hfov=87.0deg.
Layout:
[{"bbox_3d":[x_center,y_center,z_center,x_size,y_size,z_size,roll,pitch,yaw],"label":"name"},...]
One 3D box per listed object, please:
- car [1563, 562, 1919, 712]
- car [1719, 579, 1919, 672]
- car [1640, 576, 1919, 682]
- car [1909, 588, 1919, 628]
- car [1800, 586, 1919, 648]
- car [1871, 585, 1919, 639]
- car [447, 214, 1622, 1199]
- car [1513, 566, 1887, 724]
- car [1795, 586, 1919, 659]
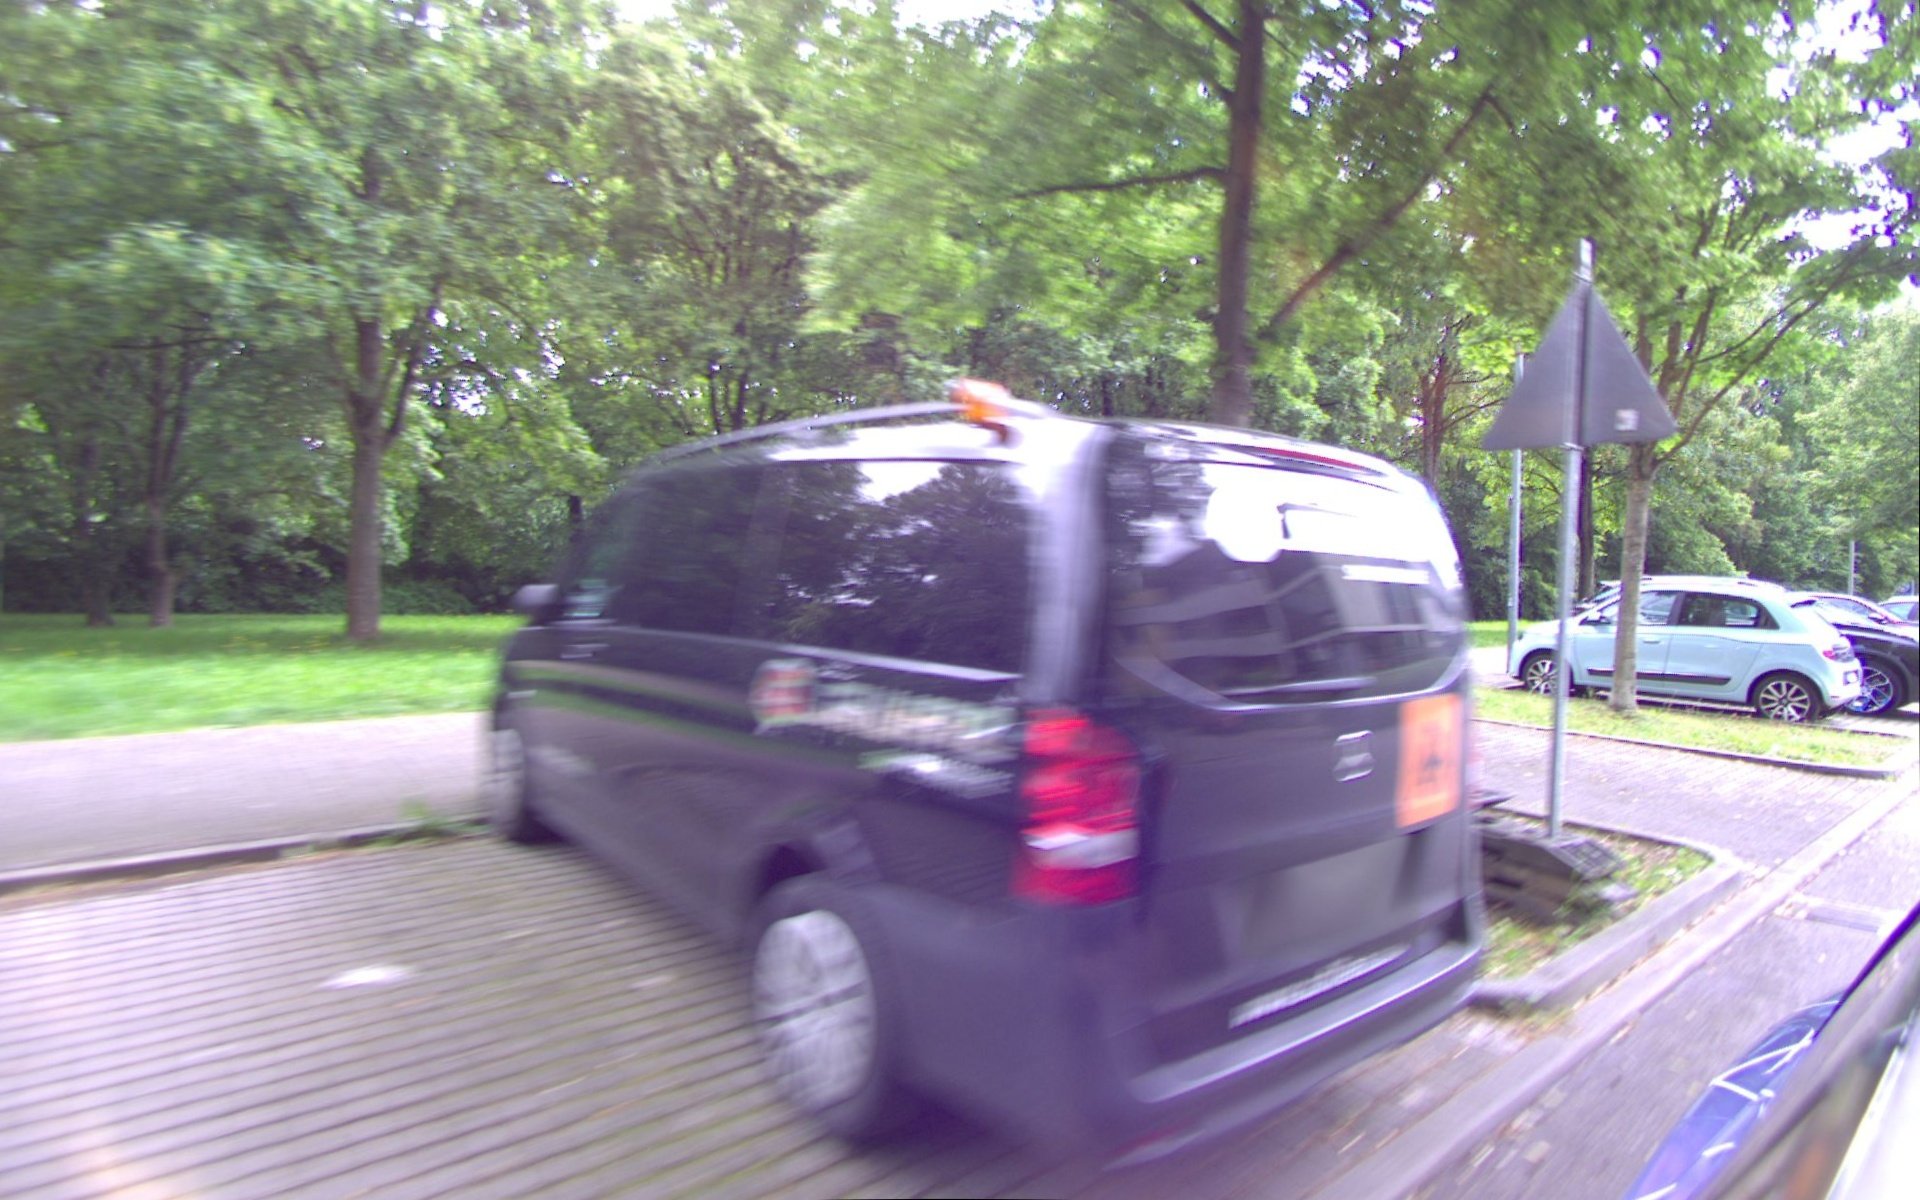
[{"bbox_3d":[11.214,0.412,14.027,2.045,1.696,4.426,1,2,-39],"label":"car"},{"bbox_3d":[17.164,0.458,19.249,1.820,1.536,4.078,0,3,-43],"label":"car"},{"bbox_3d":[14.889,0.449,17.625,1.946,1.536,4.651,1,2,-37],"label":"car"},{"bbox_3d":[36.869,0.392,36.321,1.763,1.439,4.012,0,3,-44],"label":"car"},{"bbox_3d":[24.707,0.465,26.001,1.813,1.472,4.497,0,3,-39],"label":"car"},{"bbox_3d":[29.255,0.424,29.362,1.846,1.534,3.853,0,3,-36],"label":"car"},{"bbox_3d":[-0.459,0.244,4.281,2.126,2.038,4.969,0,3,-38],"label":"car"},{"bbox_3d":[9.097,0.448,12.644,1.764,1.594,3.388,1,2,-39],"label":"car"},{"bbox_3d":[21.084,0.516,22.092,1.818,1.474,4.084,0,3,-38],"label":"car"}]
